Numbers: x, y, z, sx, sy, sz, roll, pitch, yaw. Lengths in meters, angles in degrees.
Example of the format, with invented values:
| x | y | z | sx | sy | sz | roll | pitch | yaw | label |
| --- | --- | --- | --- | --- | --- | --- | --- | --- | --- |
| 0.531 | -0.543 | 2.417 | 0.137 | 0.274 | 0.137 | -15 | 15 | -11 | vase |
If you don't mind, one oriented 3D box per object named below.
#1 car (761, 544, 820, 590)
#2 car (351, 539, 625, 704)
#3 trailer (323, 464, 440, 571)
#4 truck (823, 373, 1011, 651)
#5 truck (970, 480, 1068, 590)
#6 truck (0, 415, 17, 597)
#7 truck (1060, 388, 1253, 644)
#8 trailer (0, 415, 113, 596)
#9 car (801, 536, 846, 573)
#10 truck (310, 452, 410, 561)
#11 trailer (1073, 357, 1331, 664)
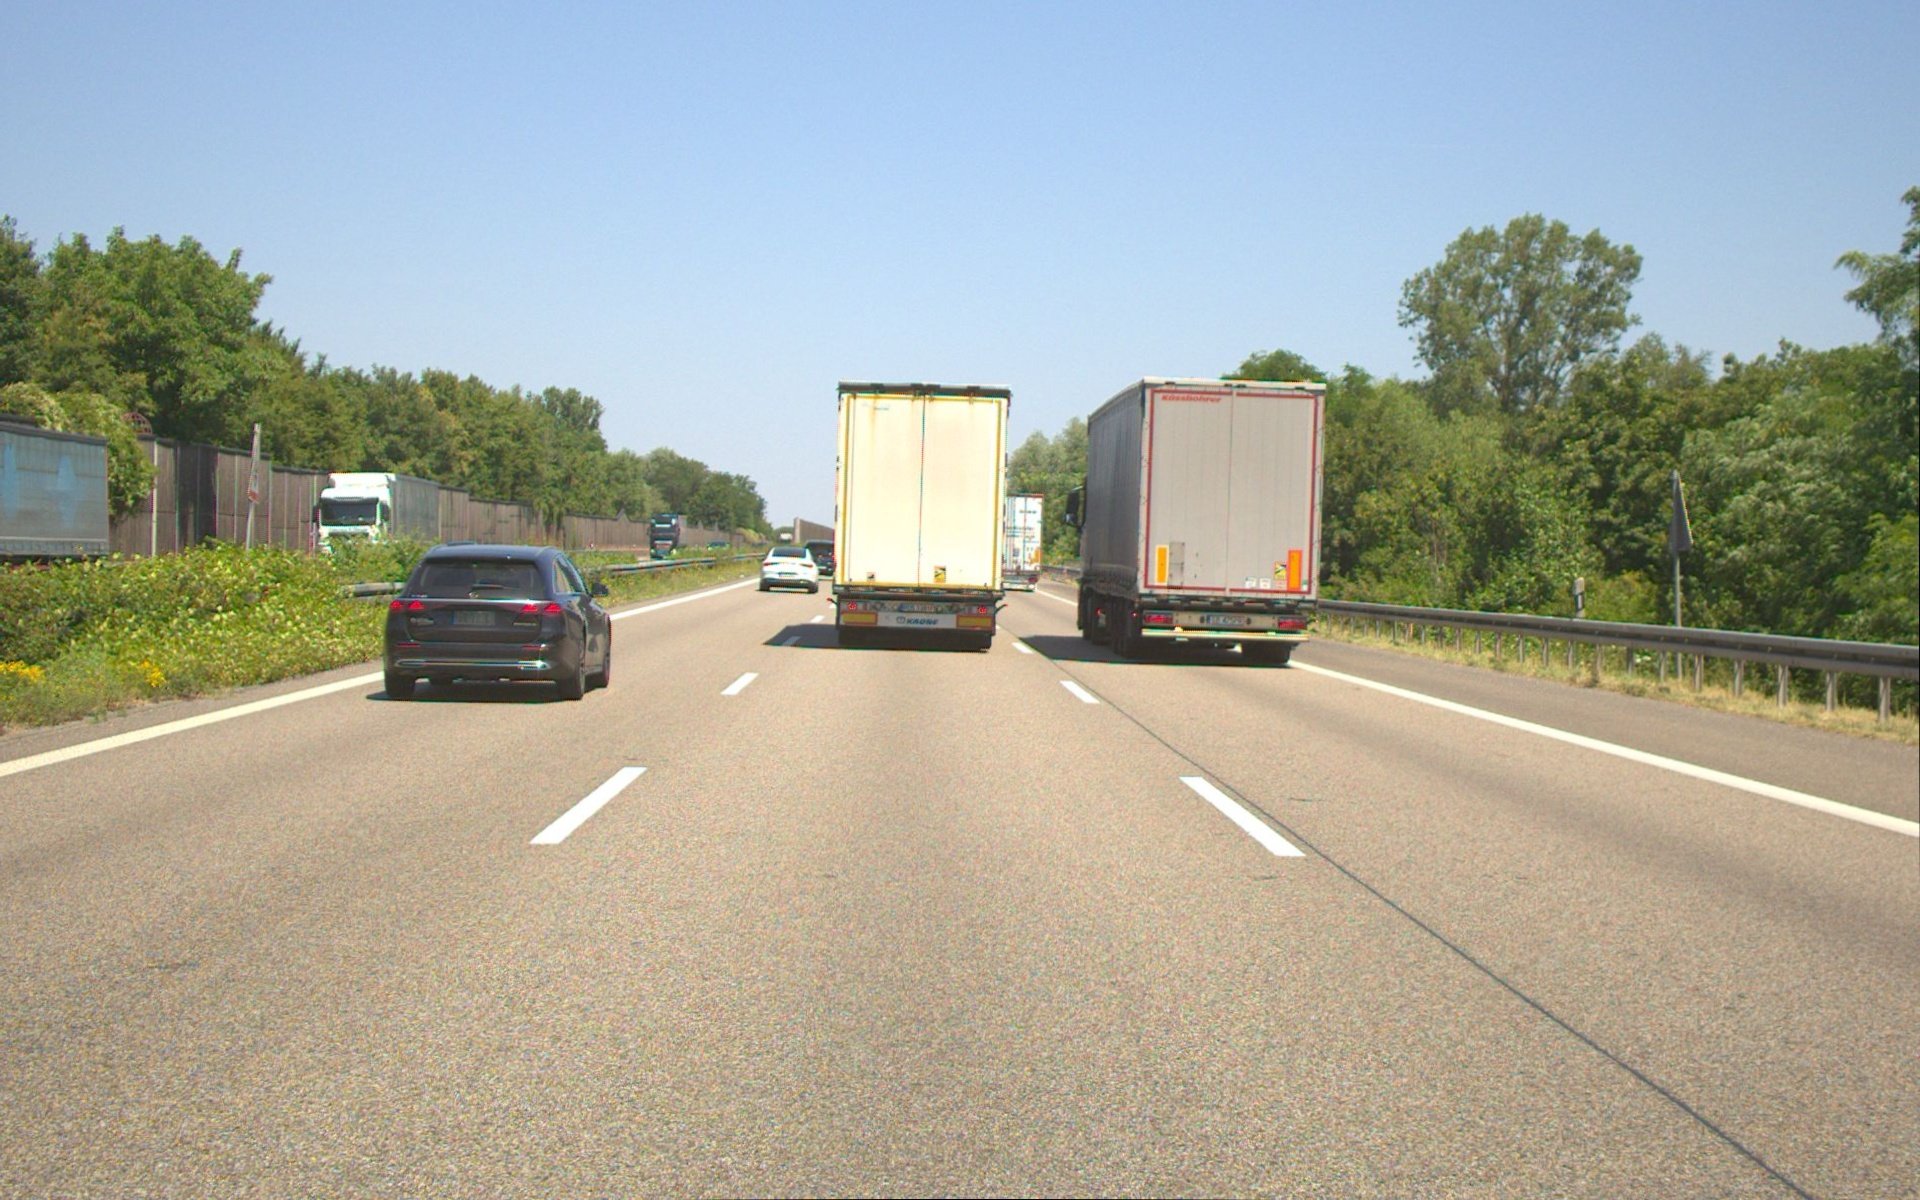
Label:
| x | y | z | sx | sy | sz | roll | pitch | yaw | label |
| --- | --- | --- | --- | --- | --- | --- | --- | --- | --- |
| -5.531 | -1.096 | 112.347 | 1.855 | 1.481 | 4.000 | 0 | 1 | -2 | car |
| -4.610 | 0.144 | 34.410 | 1.943 | 1.501 | 5.821 | 0 | 1 | 0 | car |
| -23.851 | -3.353 | 142.385 | 2.909 | 4.169 | 13.313 | 1 | 1 | -2 | trailer |
| -0.823 | -1.412 | 57.743 | 2.707 | 4.071 | 13.475 | 1 | 1 | -2 | truck |
| 2.425 | -2.767 | 145.596 | 3.374 | 4.289 | 11.451 | 3 | 1 | -2 | truck |
| -22.550 | -2.076 | 74.028 | 2.757 | 4.008 | 6.735 | 1 | 1 | -2 | truck |
| 3.386 | -1.454 | 61.116 | 2.691 | 4.201 | 7.839 | 1 | 1 | -2 | truck |
| -22.703 | -2.166 | 80.130 | 2.734 | 4.008 | 14.307 | 1 | 1 | -2 | trailer |
| -5.950 | -1.986 | 149.420 | 1.855 | 1.611 | 4.001 | 0 | 1 | -4 | car |
| -23.711 | -3.644 | 136.177 | 2.833 | 4.169 | 7.143 | 1 | 1 | -1 | truck |
| 3.563 | -1.337 | 54.183 | 2.703 | 4.201 | 13.213 | 1 | 1 | -2 | trailer |
